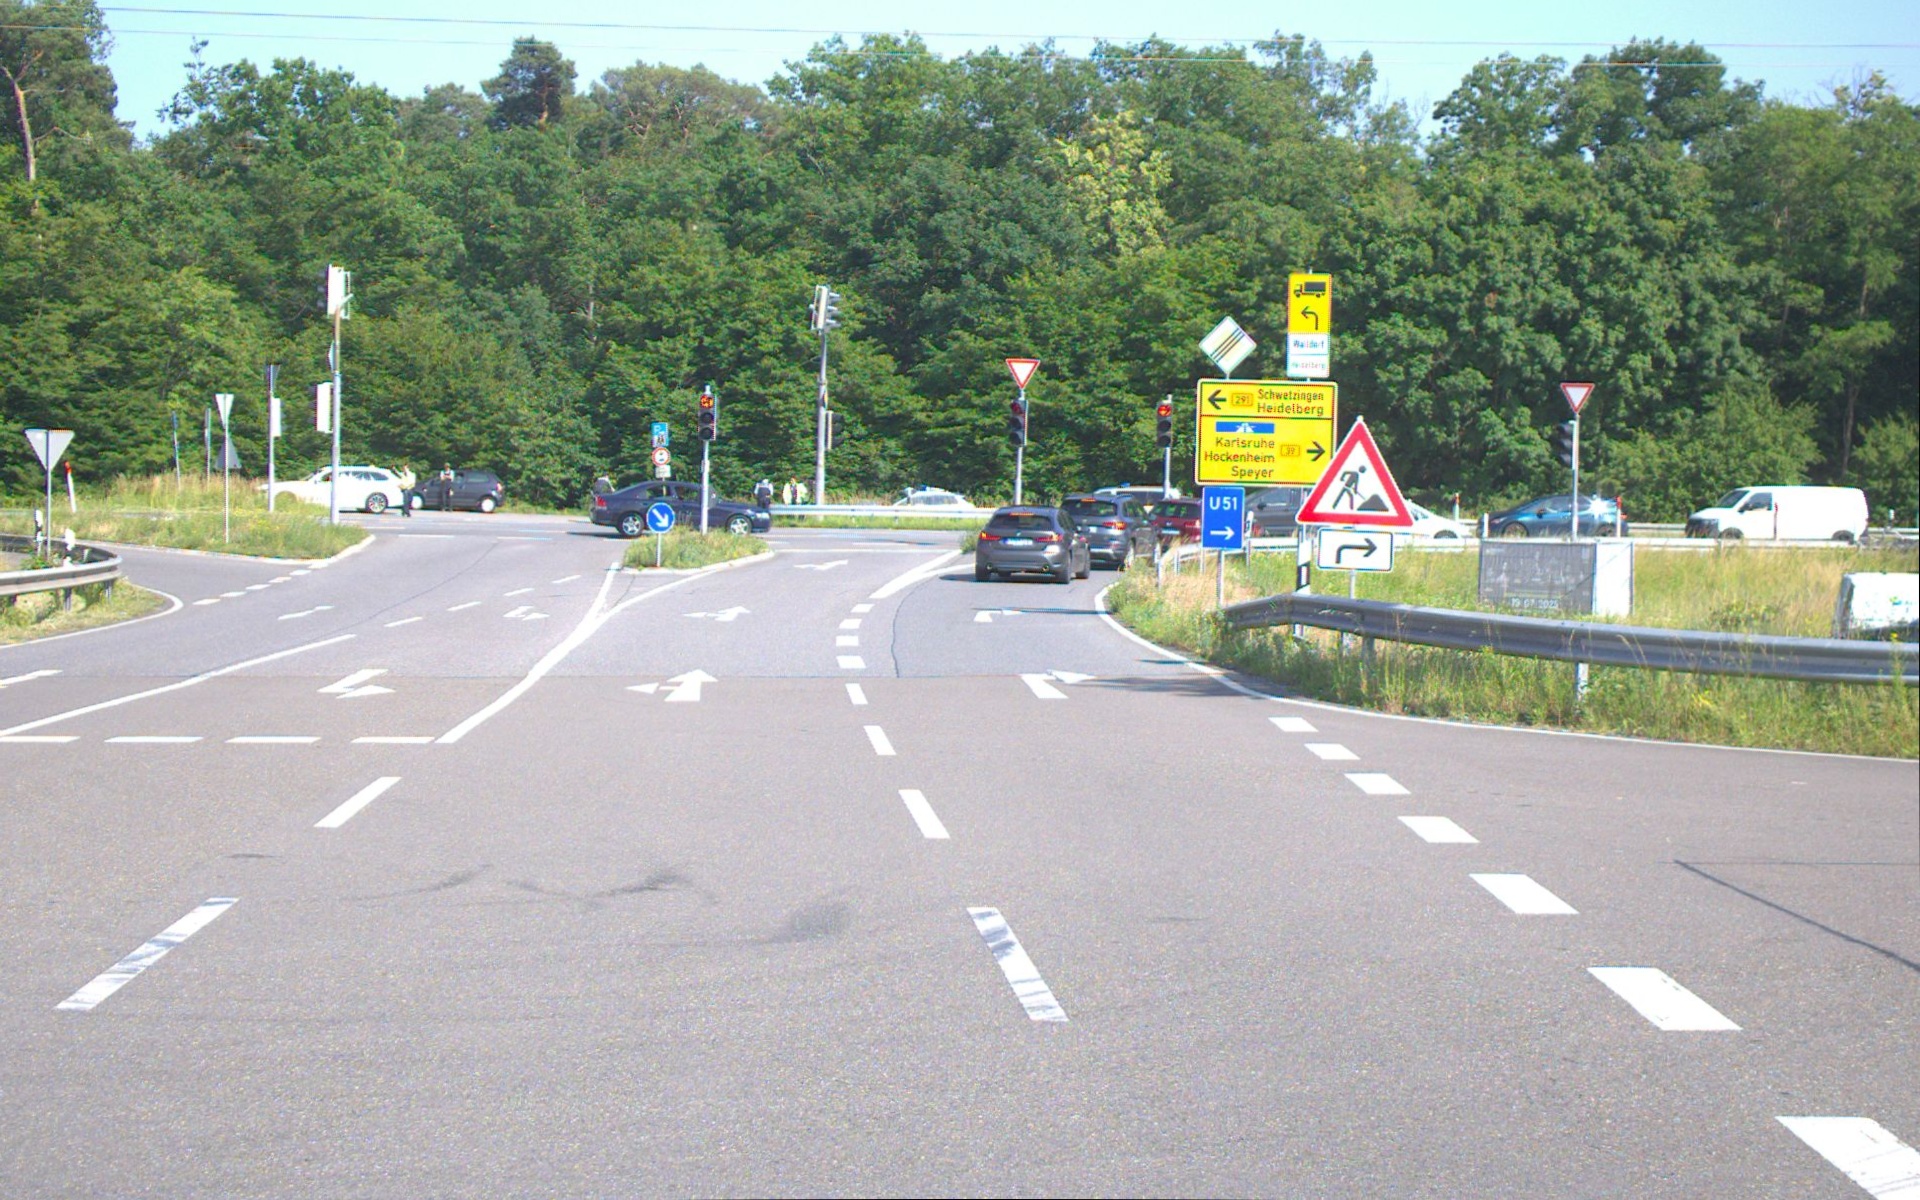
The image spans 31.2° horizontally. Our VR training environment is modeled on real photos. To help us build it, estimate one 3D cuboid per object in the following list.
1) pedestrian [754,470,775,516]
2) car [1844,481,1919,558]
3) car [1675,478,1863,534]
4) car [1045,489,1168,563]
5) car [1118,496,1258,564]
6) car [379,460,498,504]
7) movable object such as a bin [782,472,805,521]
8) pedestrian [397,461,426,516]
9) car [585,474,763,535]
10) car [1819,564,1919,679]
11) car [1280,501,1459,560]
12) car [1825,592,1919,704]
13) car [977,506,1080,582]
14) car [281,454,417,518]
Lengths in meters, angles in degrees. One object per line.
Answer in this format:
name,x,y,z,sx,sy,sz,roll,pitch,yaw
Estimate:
pedestrian,-5.920,-3.237,104.151,0.523,1.386,0.514,-1,1,8
car,26.188,-2.178,92.998,3.986,2.006,1.801,0,3,-8
car,23.371,-2.721,99.374,4.880,1.546,2.001,-1,2,-9
car,3.158,-1.598,73.612,1.800,1.495,3.998,2,2,14
car,5.279,-1.622,79.164,1.802,1.495,3.994,2,2,26
car,-17.912,-4.048,118.078,3.986,1.417,1.796,-1,2,-9
movable object such as a bin,-5.067,-3.157,104.691,0.602,1.483,0.732,-1,1,5
pedestrian,-17.450,-3.548,109.392,0.756,1.715,0.679,-1,2,-25
car,-7.303,-2.429,87.506,4.363,1.454,2.001,-1,2,-9
car,16.521,0.396,56.763,4.356,1.777,1.901,2,2,10
car,10.631,-1.809,89.450,4.227,1.454,2.001,-1,2,-9
car,15.885,0.747,53.827,4.415,1.661,1.901,0,2,10
car,1.350,-1.106,66.318,1.799,1.393,4.000,0,2,4
car,-19.766,-3.685,111.244,3.986,2.006,1.796,-2,2,-24
